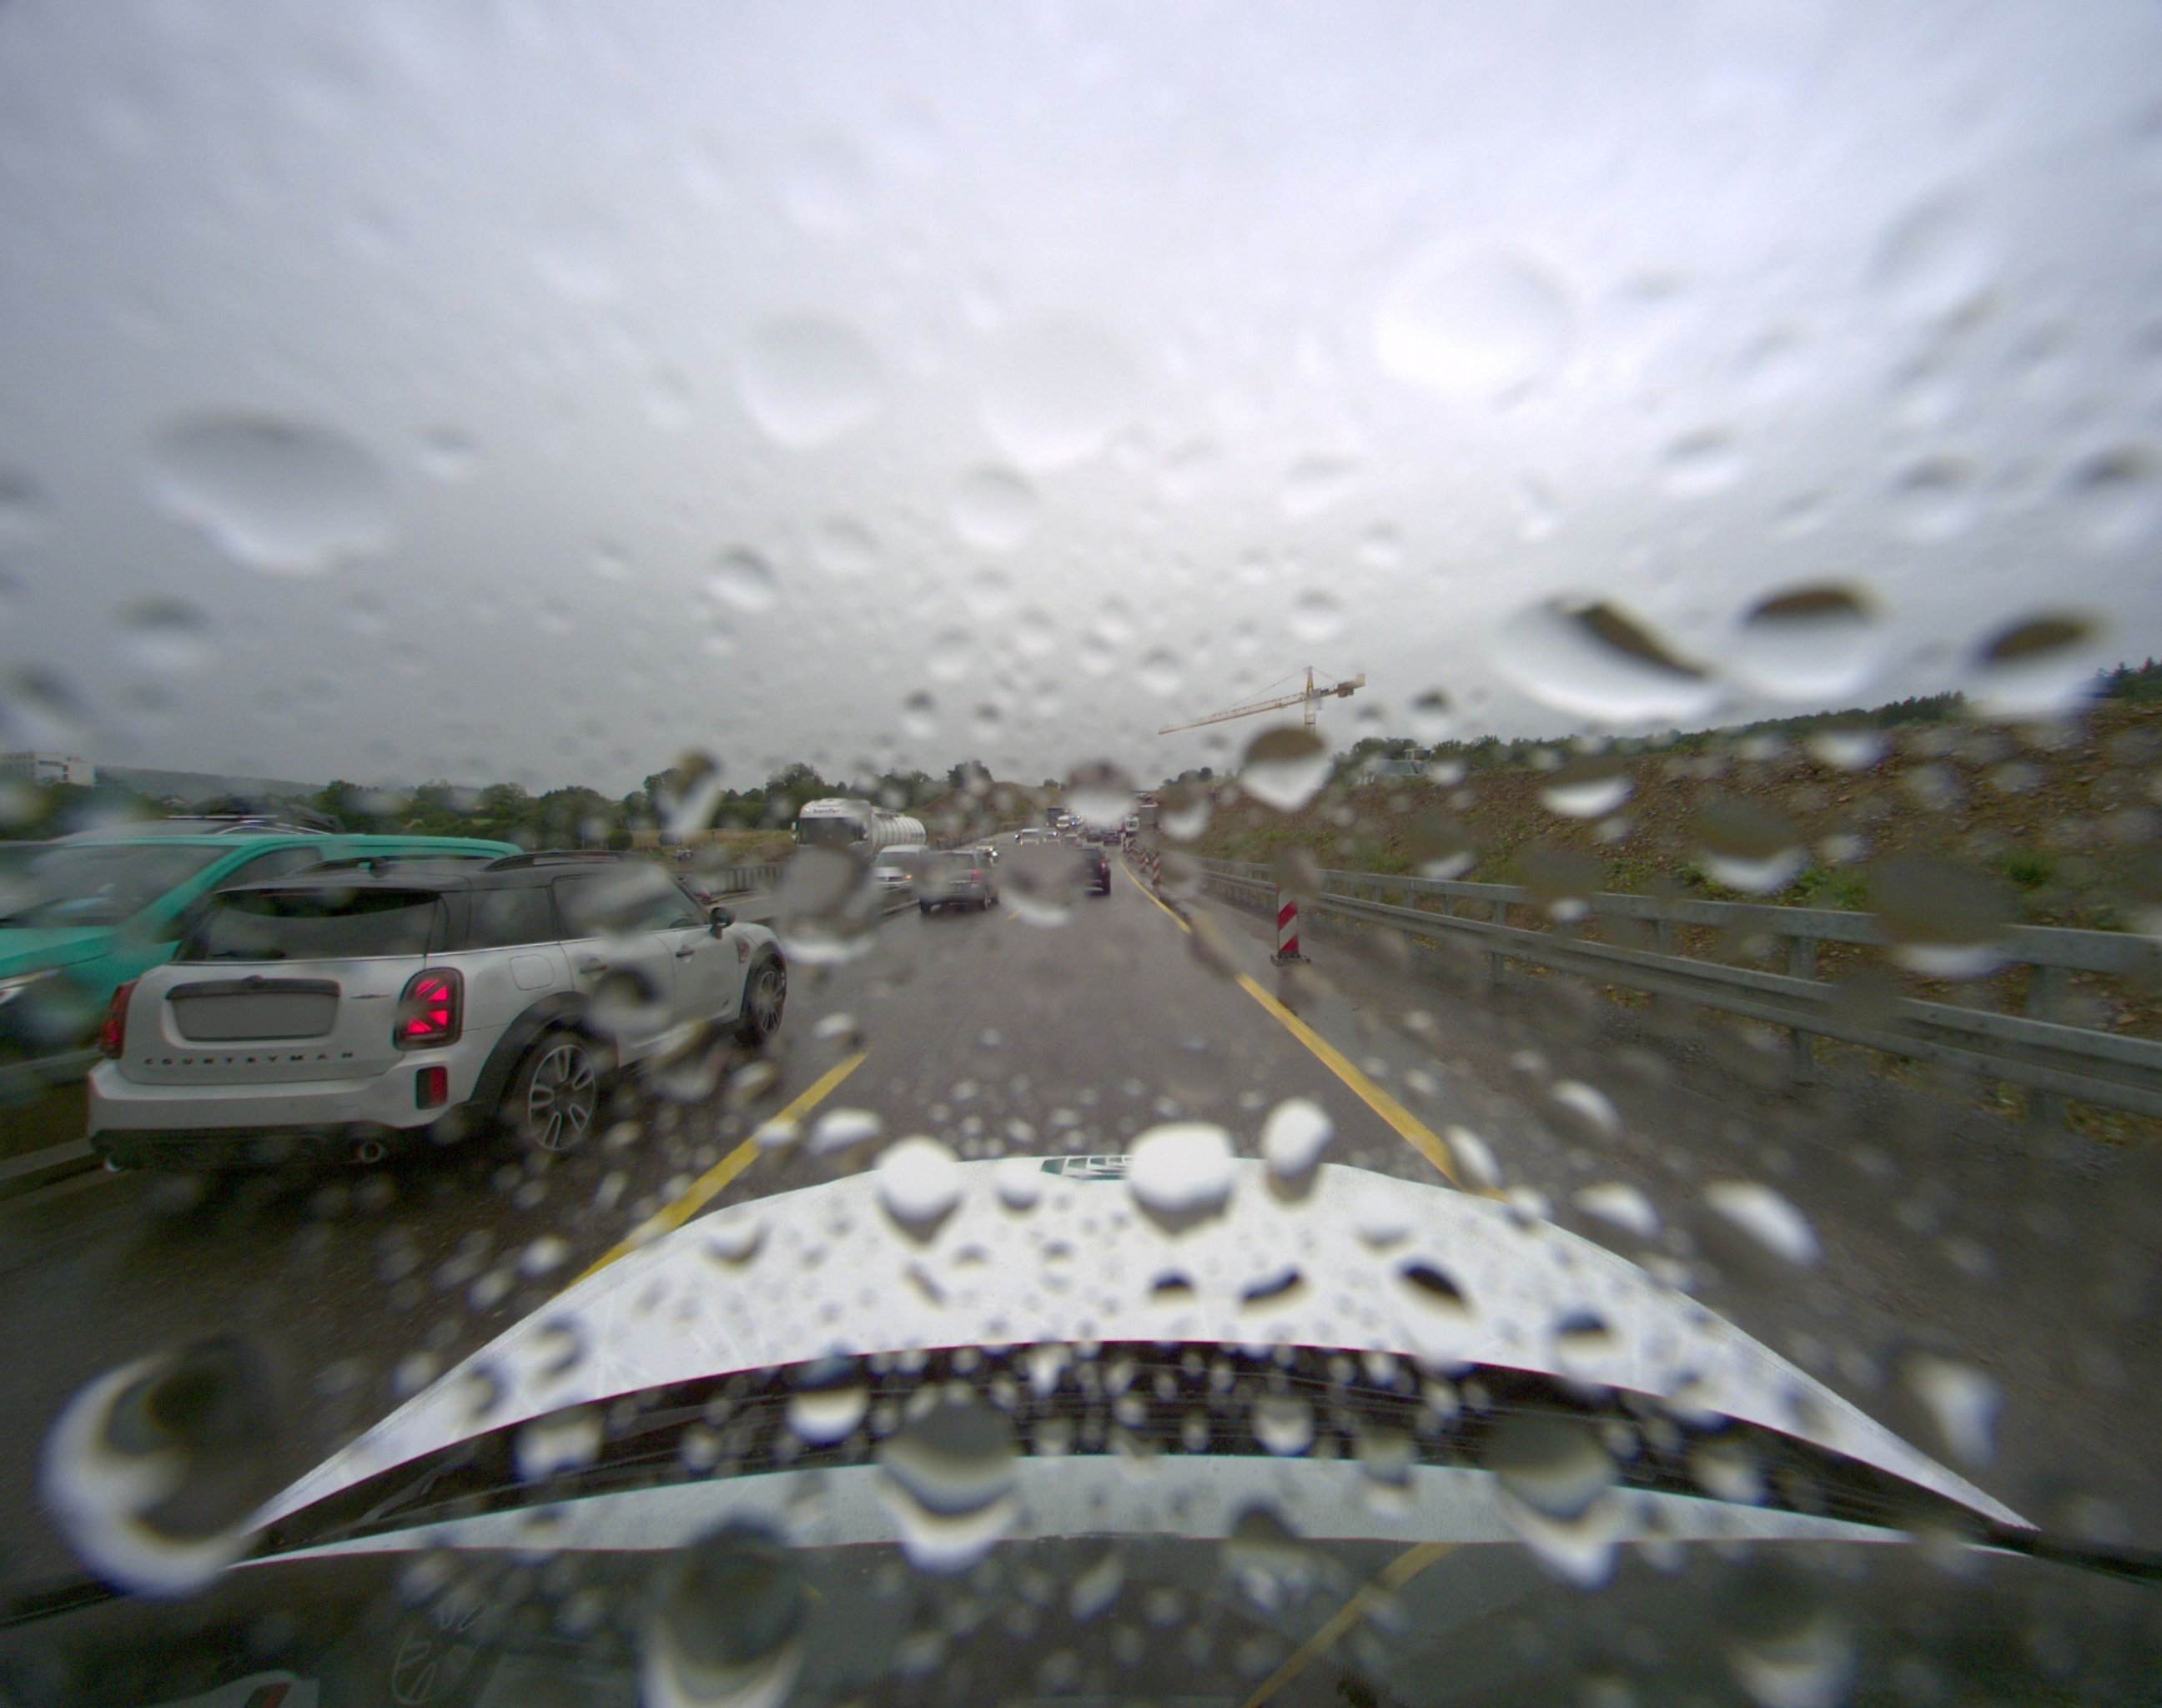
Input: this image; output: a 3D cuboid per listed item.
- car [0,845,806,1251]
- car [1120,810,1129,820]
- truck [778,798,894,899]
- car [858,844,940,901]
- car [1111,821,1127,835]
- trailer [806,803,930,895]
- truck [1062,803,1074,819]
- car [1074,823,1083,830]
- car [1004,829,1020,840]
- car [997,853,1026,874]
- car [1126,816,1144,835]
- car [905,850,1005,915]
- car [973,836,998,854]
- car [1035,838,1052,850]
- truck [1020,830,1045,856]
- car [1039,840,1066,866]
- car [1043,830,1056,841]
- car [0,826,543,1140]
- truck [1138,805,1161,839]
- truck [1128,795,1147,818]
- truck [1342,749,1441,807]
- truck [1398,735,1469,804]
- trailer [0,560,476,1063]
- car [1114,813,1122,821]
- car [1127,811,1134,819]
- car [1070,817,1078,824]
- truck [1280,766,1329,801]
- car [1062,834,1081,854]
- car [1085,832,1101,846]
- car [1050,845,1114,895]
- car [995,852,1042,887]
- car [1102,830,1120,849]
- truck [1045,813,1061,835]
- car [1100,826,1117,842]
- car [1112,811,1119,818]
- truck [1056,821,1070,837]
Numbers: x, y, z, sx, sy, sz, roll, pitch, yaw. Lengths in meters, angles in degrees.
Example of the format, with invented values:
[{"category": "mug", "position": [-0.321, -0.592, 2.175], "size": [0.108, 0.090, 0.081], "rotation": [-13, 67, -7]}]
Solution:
[{"category": "car", "position": [-3.519, 0.763, 5.443], "size": [1.809, 1.600, 4.309], "rotation": [-1, 1, 1]}, {"category": "car", "position": [9.985, -8.988, 188.214], "size": [1.986, 2.013, 4.001], "rotation": [-2, 2, 1]}, {"category": "truck", "position": [-9.762, -0.210, 33.248], "size": [2.611, 3.677, 6.595], "rotation": [-1, 0, 0]}, {"category": "car", "position": [-6.307, 0.594, 28.708], "size": [1.859, 1.800, 4.163], "rotation": [-1, 0, 1]}, {"category": "car", "position": [6.157, -4.254, 132.588], "size": [1.981, 2.163, 4.152], "rotation": [-1, 0, 10]}, {"category": "trailer", "position": [-9.713, -0.219, 38.913], "size": [2.611, 3.677, 12.004], "rotation": [-1, 0, 1]}, {"category": "truck", "position": [-3.881, -13.211, 250.718], "size": [3.071, 4.918, 8.570], "rotation": [-1, 2, 2]}, {"category": "car", "position": [-0.474, -5.497, 162.621], "size": [1.862, 1.471, 4.671], "rotation": [-1, 2, 0]}, {"category": "car", "position": [-9.445, -2.665, 111.932], "size": [1.780, 1.538, 4.313], "rotation": [-2, 1, 1]}, {"category": "car", "position": [-5.457, 0.700, 64.359], "size": [1.766, 1.504, 4.680], "rotation": [-2, 1, 1]}, {"category": "car", "position": [7.864, -4.159, 119.133], "size": [1.981, 2.484, 4.997], "rotation": [-1, 0, 11]}, {"category": "car", "position": [-3.397, 0.717, 22.780], "size": [1.986, 1.600, 4.142], "rotation": [-1, 0, 2]}, {"category": "car", "position": [-8.865, -0.838, 75.612], "size": [1.782, 1.546, 4.001], "rotation": [-1, 1, 1]}, {"category": "car", "position": [-4.702, -1.271, 102.853], "size": [1.780, 1.538, 4.313], "rotation": [-2, 1, 1]}, {"category": "truck", "position": [-5.028, -1.124, 84.640], "size": [2.071, 2.576, 5.962], "rotation": [-1, 0, 1]}, {"category": "car", "position": [-2.242, -0.077, 64.865], "size": [1.987, 2.013, 3.893], "rotation": [-1, 0, 0]}, {"category": "car", "position": [-4.639, -2.680, 120.101], "size": [1.671, 1.523, 4.346], "rotation": [-2, 1, 1]}, {"category": "car", "position": [-7.025, 0.730, 6.680], "size": [1.986, 1.759, 4.689], "rotation": [-1, 0, 1]}, {"category": "truck", "position": [11.654, -5.295, 137.420], "size": [3.083, 5.426, 9.466], "rotation": [-1, 0, 9]}, {"category": "truck", "position": [13.692, -11.495, 198.723], "size": [3.791, 5.042, 12.922], "rotation": [-1, 0, 1]}, {"category": "truck", "position": [19.837, -4.745, 52.829], "size": [3.381, 2.875, 8.966], "rotation": [-1, 0, 3]}, {"category": "truck", "position": [24.606, -5.809, 57.150], "size": [2.365, 4.218, 5.979], "rotation": [-1, 0, 1]}, {"category": "trailer", "position": [-10.117, -0.316, 3.811], "size": [2.739, 4.042, 15.363], "rotation": [-1, 0, 1]}, {"category": "car", "position": [9.589, -9.596, 211.321], "size": [1.986, 2.013, 4.001], "rotation": [-2, 2, 1]}, {"category": "car", "position": [14.168, -11.132, 233.073], "size": [1.987, 2.013, 4.000], "rotation": [-1, 0, 0]}, {"category": "car", "position": [-1.653, -7.906, 192.182], "size": [1.731, 1.684, 5.555], "rotation": [-1, 2, 1]}, {"category": "truck", "position": [20.557, -6.424, 75.315], "size": [2.636, 2.554, 6.985], "rotation": [-1, 0, 1]}, {"category": "car", "position": [-1.060, -1.061, 88.572], "size": [1.988, 2.163, 4.137], "rotation": [-1, 0, -2]}, {"category": "car", "position": [1.575, -1.963, 107.568], "size": [1.986, 1.761, 3.817], "rotation": [-1, 0, 2]}, {"category": "car", "position": [0.101, 0.529, 28.969], "size": [2.073, 1.600, 4.142], "rotation": [-1, 0, 2]}, {"category": "car", "position": [-3.054, 0.719, 40.365], "size": [1.987, 1.600, 4.139], "rotation": [-1, 0, 0]}, {"category": "car", "position": [3.582, -1.757, 97.289], "size": [1.986, 2.163, 4.143], "rotation": [-1, 0, 2]}, {"category": "truck", "position": [-5.413, -5.764, 156.639], "size": [2.633, 3.969, 9.214], "rotation": [-1, 2, 0]}, {"category": "car", "position": [4.027, -2.923, 120.004], "size": [1.982, 2.163, 4.151], "rotation": [-1, 0, 9]}, {"category": "car", "position": [10.588, -12.115, 248.878], "size": [1.987, 2.013, 4.000], "rotation": [-1, 0, 0]}, {"category": "truck", "position": [-3.088, -4.450, 142.950], "size": [2.140, 2.713, 6.017], "rotation": [-1, 2, 0]}]
